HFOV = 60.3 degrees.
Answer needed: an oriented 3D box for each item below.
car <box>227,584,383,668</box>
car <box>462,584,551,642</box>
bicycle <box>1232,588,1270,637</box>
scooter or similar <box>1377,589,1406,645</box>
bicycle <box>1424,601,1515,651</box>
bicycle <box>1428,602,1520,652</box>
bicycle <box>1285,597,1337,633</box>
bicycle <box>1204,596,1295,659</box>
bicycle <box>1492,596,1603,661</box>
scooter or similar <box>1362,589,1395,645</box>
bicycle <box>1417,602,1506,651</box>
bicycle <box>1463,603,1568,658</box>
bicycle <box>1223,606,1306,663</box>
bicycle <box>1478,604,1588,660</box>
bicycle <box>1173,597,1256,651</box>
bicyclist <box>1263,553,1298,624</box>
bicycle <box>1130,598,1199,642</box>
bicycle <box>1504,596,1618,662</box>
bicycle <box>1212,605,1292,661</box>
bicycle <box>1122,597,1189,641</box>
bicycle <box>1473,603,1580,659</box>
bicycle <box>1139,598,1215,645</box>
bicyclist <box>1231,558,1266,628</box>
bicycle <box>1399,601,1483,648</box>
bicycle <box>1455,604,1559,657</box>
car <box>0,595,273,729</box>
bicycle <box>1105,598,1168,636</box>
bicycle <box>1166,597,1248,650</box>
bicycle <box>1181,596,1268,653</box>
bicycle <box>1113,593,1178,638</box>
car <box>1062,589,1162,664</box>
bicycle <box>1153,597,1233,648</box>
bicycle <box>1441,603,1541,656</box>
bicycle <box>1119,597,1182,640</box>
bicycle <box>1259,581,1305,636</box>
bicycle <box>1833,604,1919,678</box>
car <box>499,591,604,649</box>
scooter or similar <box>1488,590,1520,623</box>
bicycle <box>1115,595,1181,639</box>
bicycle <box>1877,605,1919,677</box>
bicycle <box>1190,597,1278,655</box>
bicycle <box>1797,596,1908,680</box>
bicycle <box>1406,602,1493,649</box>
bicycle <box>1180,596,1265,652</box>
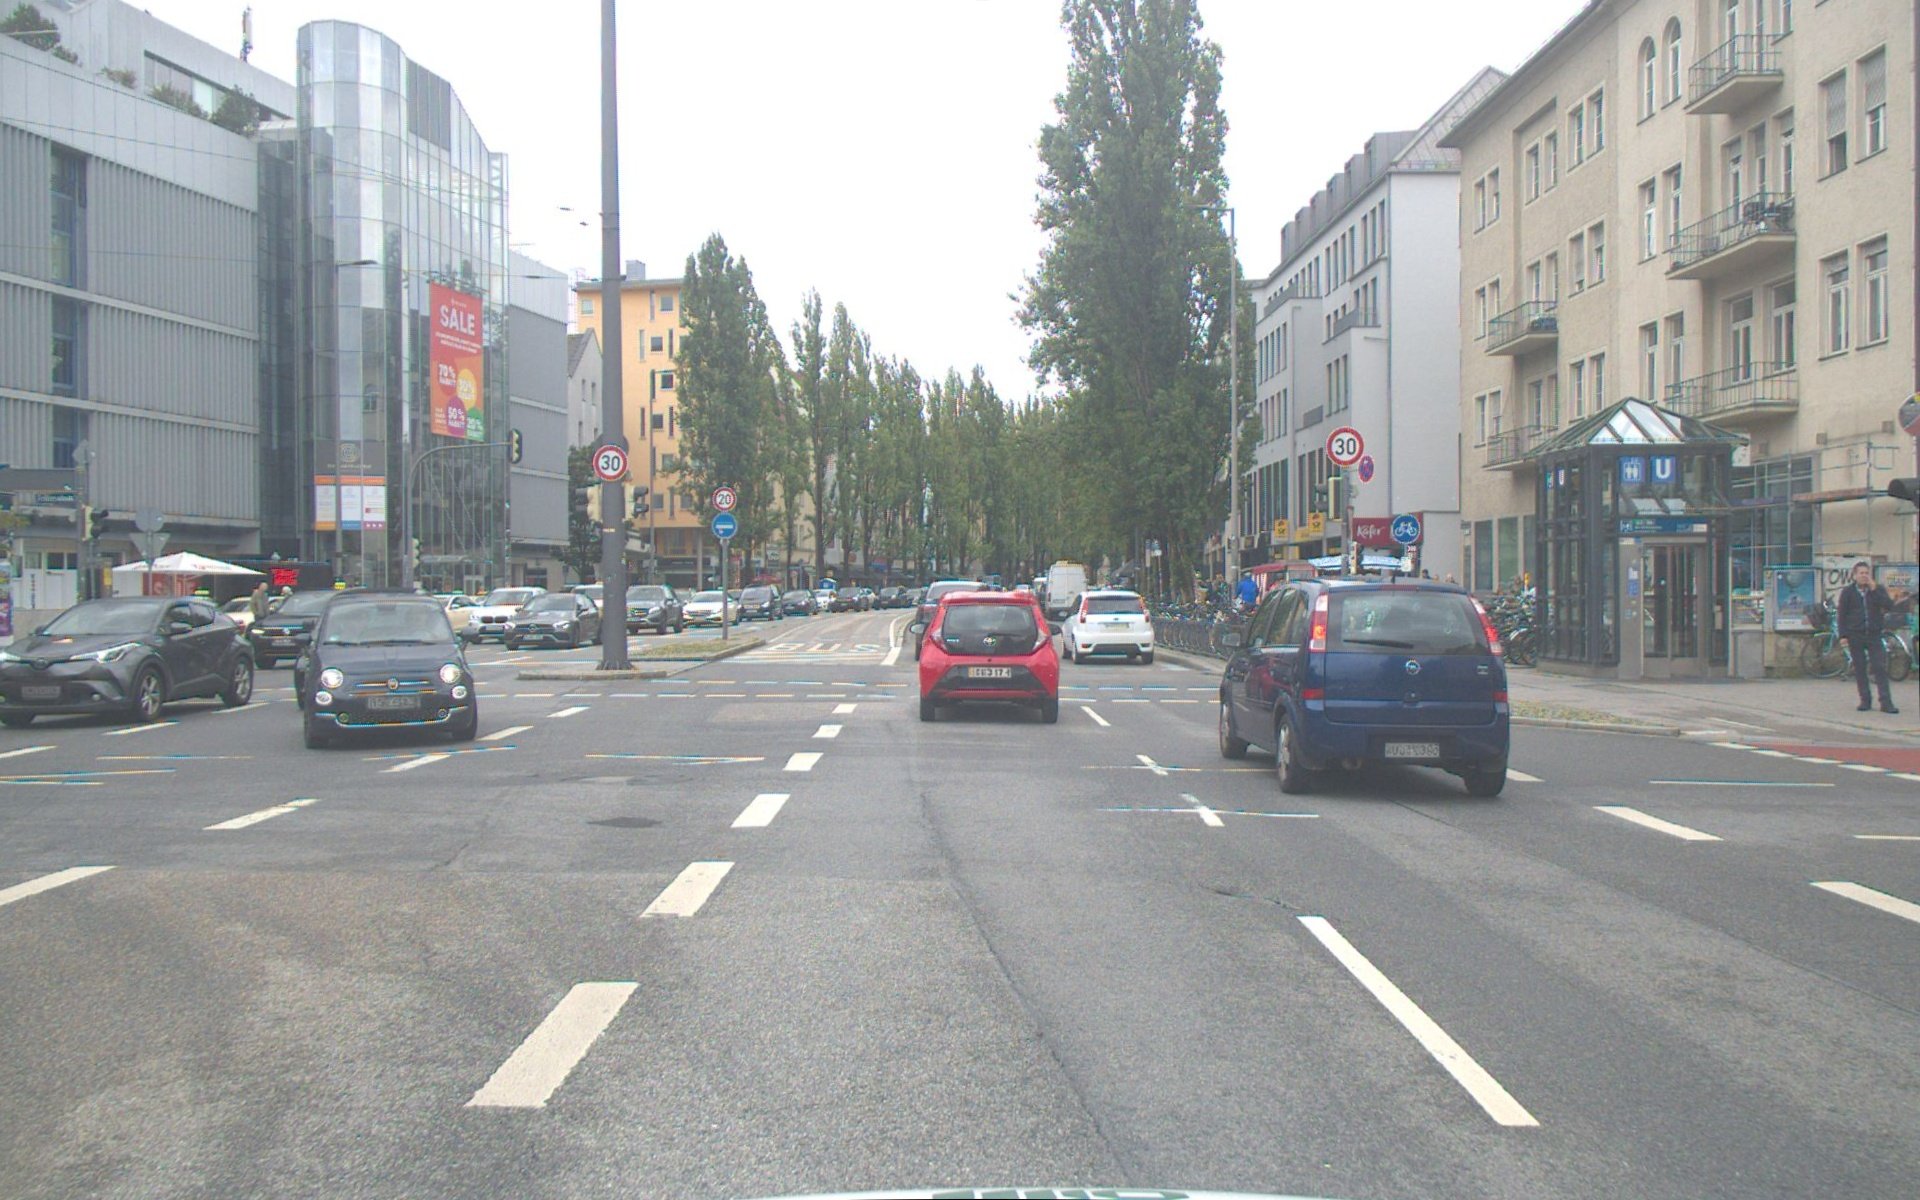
[{"bbox_3d":[-13.859,0.516,35.231,1.746,1.691,3.999,0,0,-1],"label":"car"},{"bbox_3d":[-13.401,0.366,49.058,1.664,1.624,3.999,0,0,-2],"label":"car"},{"bbox_3d":[8.046,0.328,45.870,0.601,1.287,2.519,-1,1,0],"label":"bicycle"},{"bbox_3d":[9.384,0.363,35.980,0.294,1.196,1.275,-1,1,29],"label":"scooter or similar"},{"bbox_3d":[10.473,0.537,34.014,1.719,0.981,0.453,-1,0,-3],"label":"bicycle"},{"bbox_3d":[10.406,0.539,33.508,1.719,0.981,0.453,-1,0,-3],"label":"bicycle"},{"bbox_3d":[9.929,0.420,46.822,1.375,0.980,0.369,-1,0,-6],"label":"bicycle"},{"bbox_3d":[5.798,0.543,33.161,1.773,1.219,0.555,0,1,43],"label":"bicycle"},{"bbox_3d":[10.412,0.497,29.328,1.801,1.113,0.508,-1,0,-3],"label":"bicycle"},{"bbox_3d":[9.194,0.355,36.338,0.357,1.196,1.345,-1,1,29],"label":"scooter or similar"},{"bbox_3d":[10.513,0.547,34.677,1.719,0.981,0.453,-1,0,-3],"label":"bicycle"},{"bbox_3d":[10.426,0.564,31.072,1.801,0.981,0.508,-1,0,-3],"label":"bicycle"},{"bbox_3d":[5.814,0.650,31.646,0.495,1.046,1.576,-1,1,-43],"label":"bicycle"},{"bbox_3d":[10.359,0.571,29.919,1.801,0.981,0.508,-1,0,-3],"label":"bicycle"},{"bbox_3d":[5.641,0.530,36.704,1.765,1.178,0.486,0,0,29],"label":"bicycle"},{"bbox_3d":[7.816,-0.278,40.336,0.601,1.686,1.251,-1,1,0],"label":"bicyclist"},{"bbox_3d":[5.284,0.507,42.869,1.772,1.130,0.559,0,1,41],"label":"bicycle"},{"bbox_3d":[10.441,0.502,28.762,1.801,1.113,0.508,-1,0,-3],"label":"bicycle"},{"bbox_3d":[5.728,0.639,32.500,0.495,1.046,1.576,-1,1,-43],"label":"bicycle"},{"bbox_3d":[5.236,0.494,44.295,1.773,1.130,0.583,0,1,42],"label":"bicycle"},{"bbox_3d":[10.418,0.569,30.452,1.801,0.981,0.508,-1,0,-3],"label":"bicycle"},{"bbox_3d":[5.348,0.524,40.793,1.769,1.130,0.649,0,1,37],"label":"bicycle"},{"bbox_3d":[8.005,-0.190,45.869,0.747,1.902,1.133,-1,0,0],"label":"bicyclist"},{"bbox_3d":[10.442,0.529,35.928,1.718,0.981,0.369,-1,0,0],"label":"bicycle"},{"bbox_3d":[10.446,0.580,31.605,1.801,0.981,0.508,-1,0,-3],"label":"bicycle"},{"bbox_3d":[-10.541,0.715,21.433,1.631,1.535,4.279,0,0,-2],"label":"car"},{"bbox_3d":[5.095,0.487,47.811,1.805,1.070,0.583,0,1,42],"label":"bicycle"},{"bbox_3d":[5.575,0.521,37.358,1.765,1.178,0.486,0,0,30],"label":"bicycle"},{"bbox_3d":[5.625,0.517,35.234,1.769,1.178,0.546,0,1,37],"label":"bicycle"},{"bbox_3d":[5.199,0.427,46.405,1.805,1.218,0.583,0,1,42],"label":"bicycle"},{"bbox_3d":[3.097,0.513,34.309,1.665,1.451,3.496,0,0,-1],"label":"car"},{"bbox_3d":[5.450,0.519,38.733,1.768,1.178,0.650,0,1,35],"label":"bicycle"},{"bbox_3d":[10.407,0.572,32.430,1.801,0.981,0.508,-1,0,-3],"label":"bicycle"},{"bbox_3d":[5.172,0.487,44.959,1.773,1.130,0.488,0,1,42],"label":"bicycle"},{"bbox_3d":[7.813,0.187,40.189,0.601,1.287,2.519,-1,1,0],"label":"bicycle"},{"bbox_3d":[13.213,0.568,23.624,0.484,0.992,1.866,-1,1,-1],"label":"bicycle"},{"bbox_3d":[-10.810,0.499,44.019,1.954,1.436,4.165,0,1,-3],"label":"car"},{"bbox_3d":[16.369,0.177,49.757,0.524,0.960,1.124,-2,1,-2],"label":"scooter or similar"},{"bbox_3d":[5.183,0.451,45.623,1.805,1.188,0.583,0,1,42],"label":"bicycle"},{"bbox_3d":[13.878,0.587,23.639,0.484,0.992,1.866,-1,1,-1],"label":"bicycle"},{"bbox_3d":[5.722,0.525,34.553,1.769,1.178,0.546,0,1,37],"label":"bicycle"},{"bbox_3d":[12.721,0.523,23.634,0.555,1.127,1.866,-1,1,-1],"label":"bicycle"},{"bbox_3d":[10.416,0.540,35.235,1.718,0.981,0.453,-1,0,0],"label":"bicycle"},{"bbox_3d":[5.716,0.514,36.045,1.763,1.178,0.486,0,0,25],"label":"bicycle"}]
